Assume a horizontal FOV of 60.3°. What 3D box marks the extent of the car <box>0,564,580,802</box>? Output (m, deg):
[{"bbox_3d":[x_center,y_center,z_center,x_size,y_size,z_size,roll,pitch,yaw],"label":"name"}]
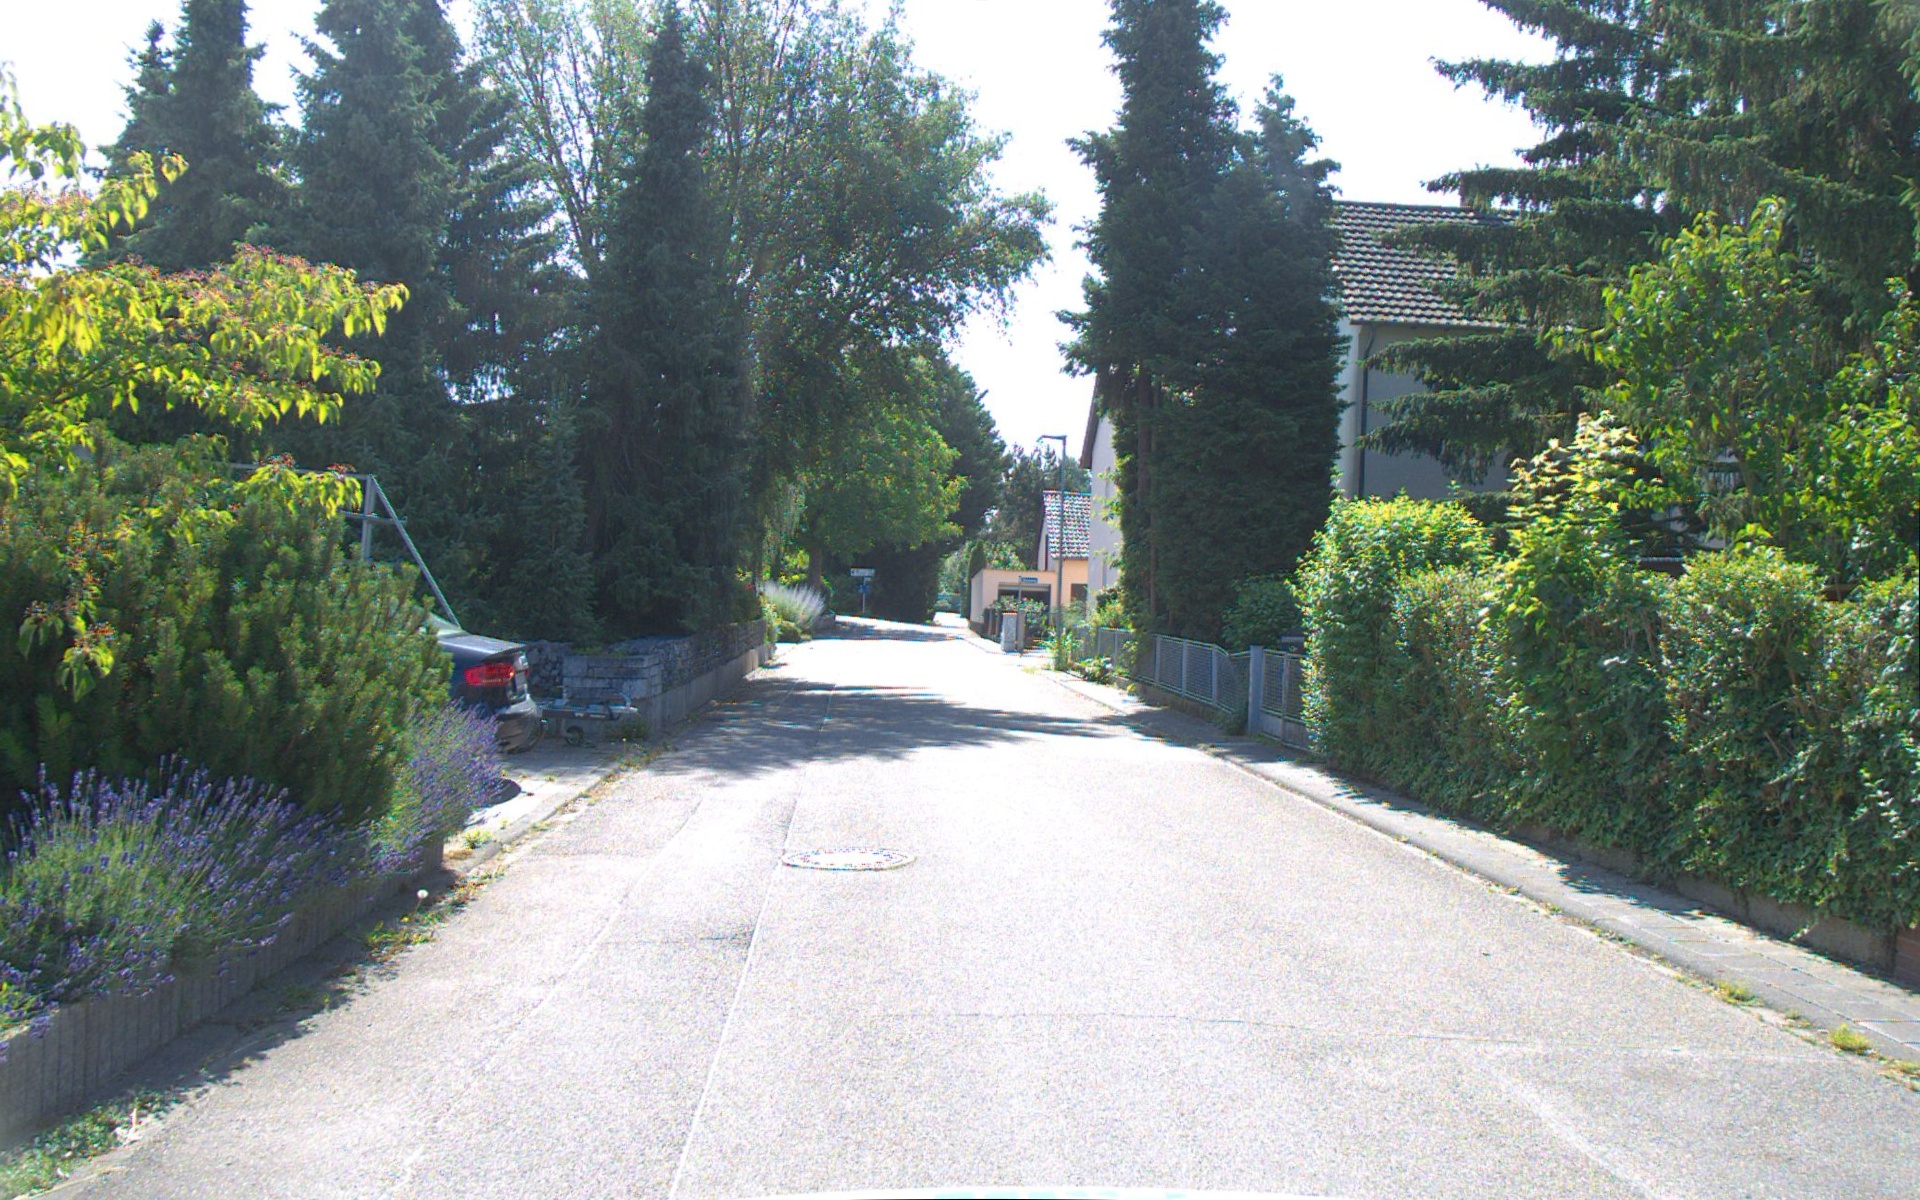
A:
[{"bbox_3d":[-4.774,0.559,12.009,3.663,1.471,1.754,2,0,-6],"label":"car"}]
